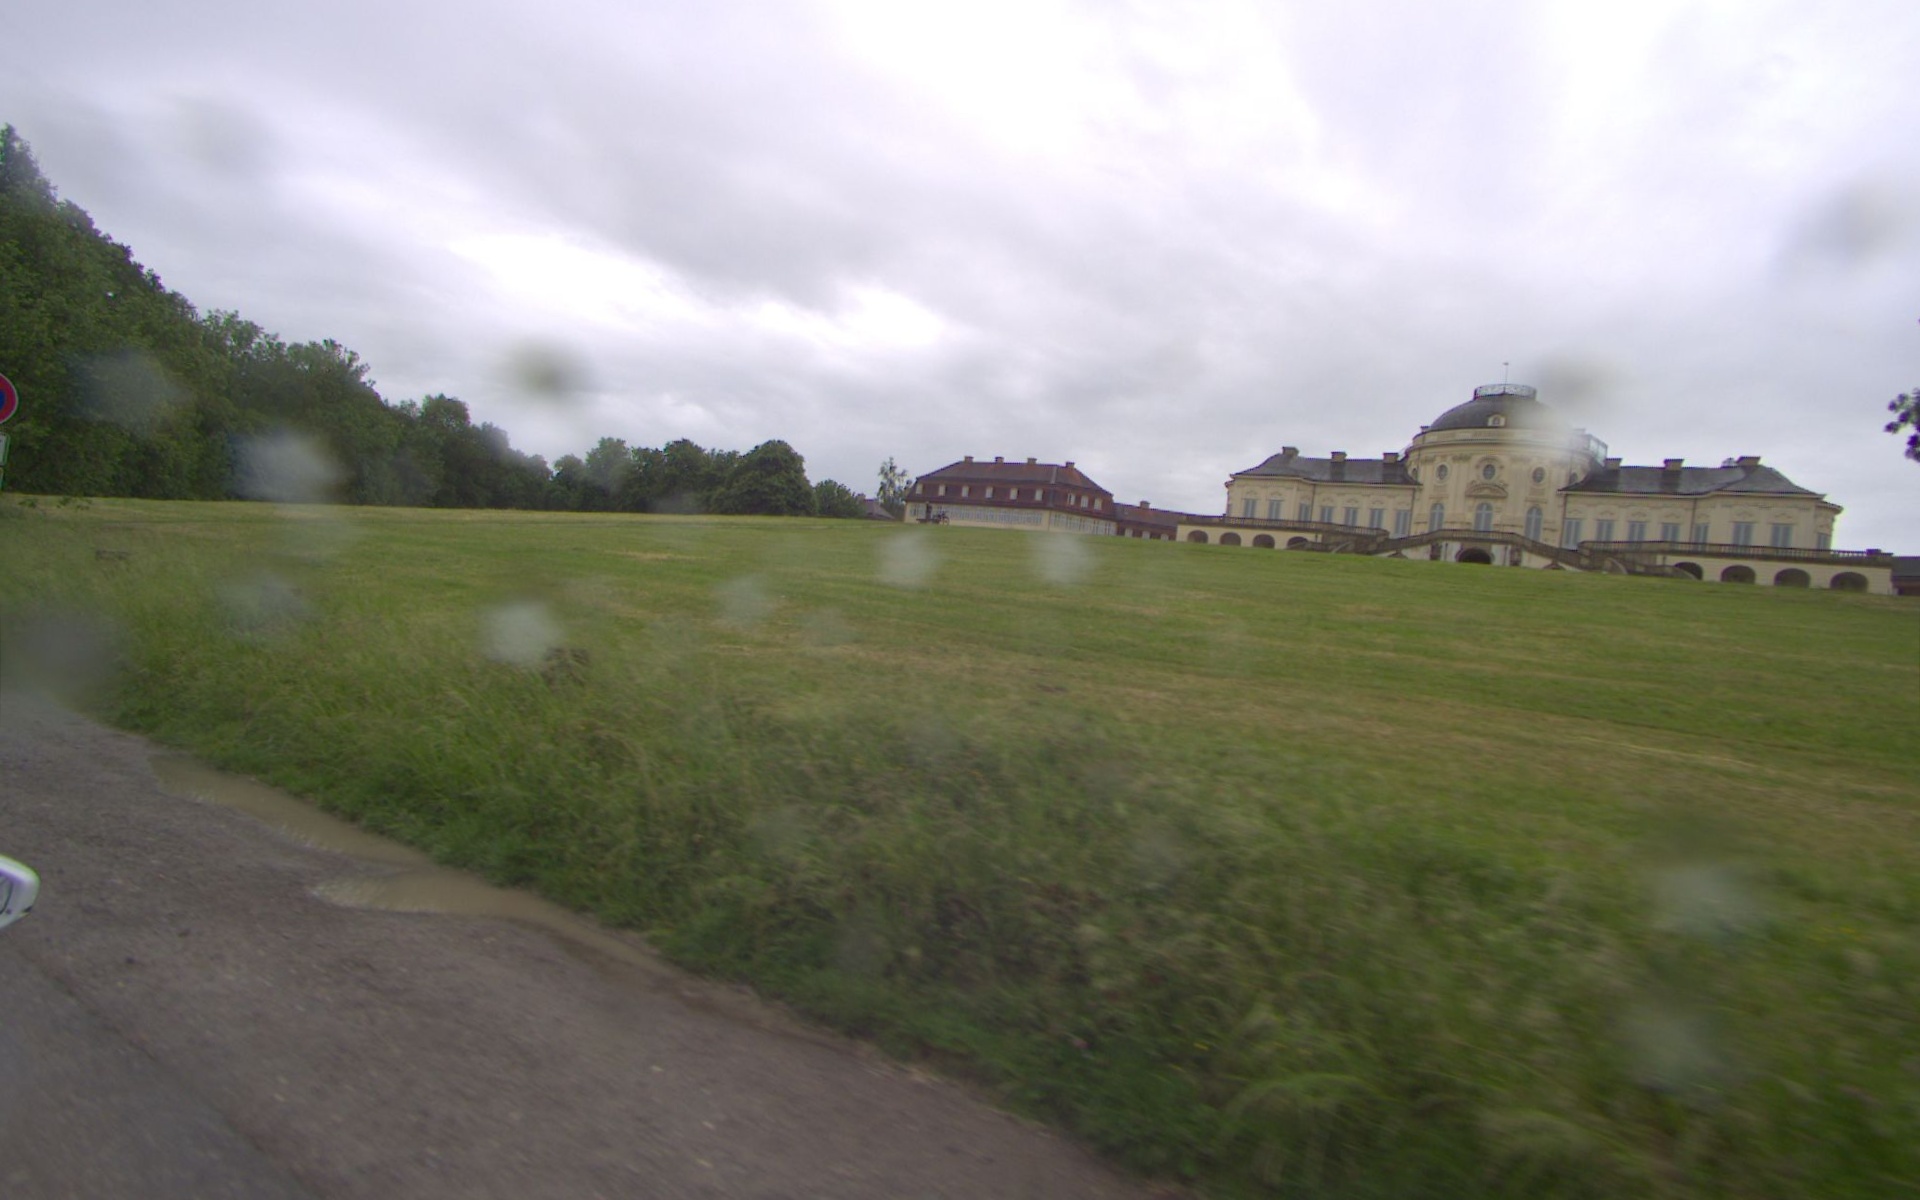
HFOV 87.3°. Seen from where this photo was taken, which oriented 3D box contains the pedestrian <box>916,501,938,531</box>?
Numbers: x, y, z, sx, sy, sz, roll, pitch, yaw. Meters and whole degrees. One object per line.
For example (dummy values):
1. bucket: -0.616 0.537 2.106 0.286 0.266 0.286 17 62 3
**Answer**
1. pedestrian: -2.185 -5.511 66.027 0.922 1.758 0.794 7 1 -39
